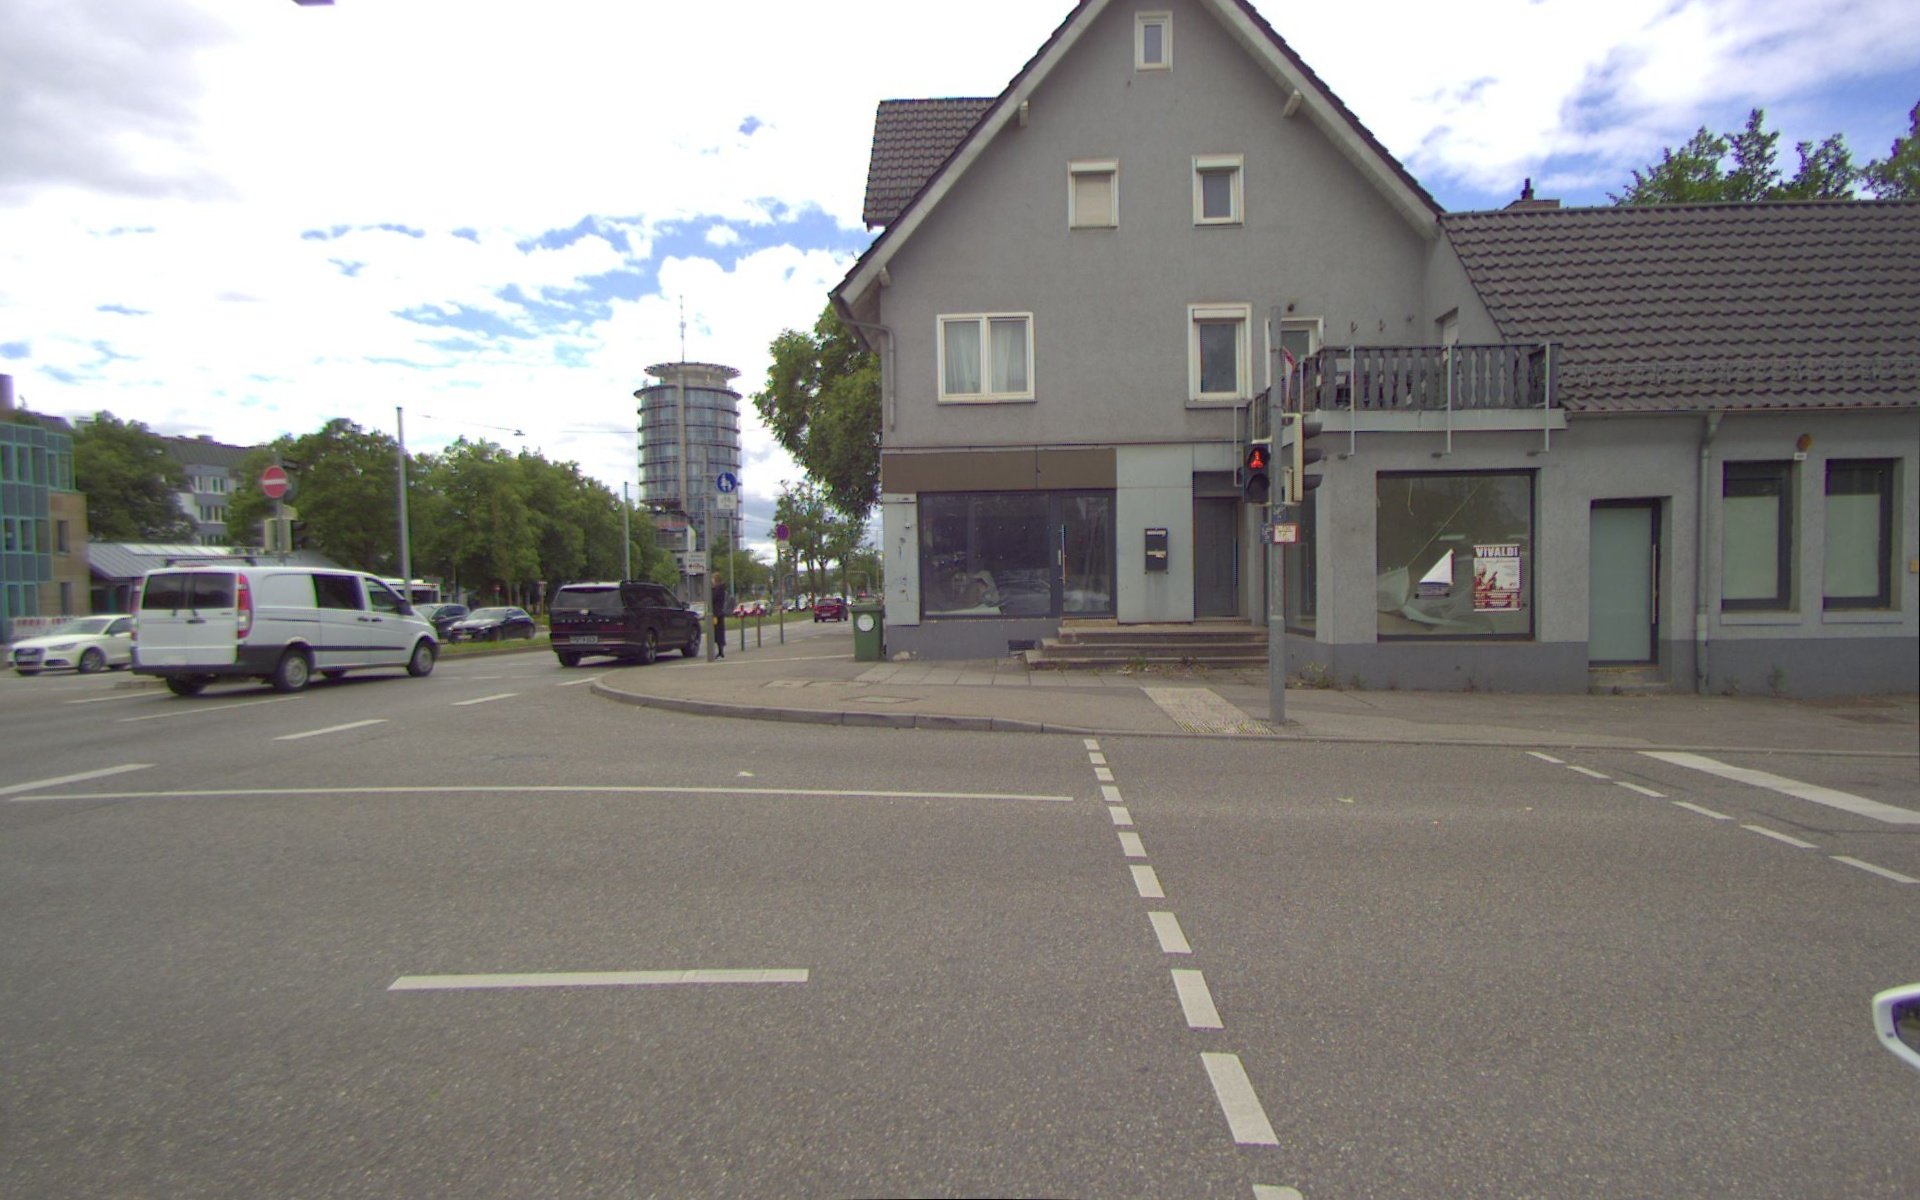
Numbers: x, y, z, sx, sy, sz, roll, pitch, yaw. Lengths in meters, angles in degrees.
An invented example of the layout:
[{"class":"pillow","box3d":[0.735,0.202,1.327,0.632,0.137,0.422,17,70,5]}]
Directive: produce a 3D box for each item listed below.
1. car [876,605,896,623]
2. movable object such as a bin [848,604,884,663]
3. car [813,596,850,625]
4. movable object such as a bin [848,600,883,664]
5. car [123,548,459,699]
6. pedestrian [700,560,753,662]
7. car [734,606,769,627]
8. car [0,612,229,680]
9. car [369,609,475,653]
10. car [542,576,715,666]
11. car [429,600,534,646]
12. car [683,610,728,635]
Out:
[{"class":"car","box3d":[-6.982,1.336,94.461,1.839,1.505,3.997,-2,-1,-5]},{"class":"movable object such as a bin","box3d":[-1.639,0.580,17.490,0.587,1.000,0.573,-1,0,-4]},{"class":"car","box3d":[-8.053,0.659,63.168,1.717,1.746,4.000,-1,0,1]},{"class":"movable object such as a bin","box3d":[-1.703,0.575,18.092,0.587,1.116,0.573,-1,0,-4]},{"class":"car","box3d":[-10.580,0.379,16.507,1.842,2.040,5.078,-2,-1,4]},{"class":"pedestrian","box3d":[-4.778,0.228,20.576,0.758,2.040,0.878,-1,0,8]},{"class":"car","box3d":[-17.003,1.328,81.911,1.960,1.595,4.000,-1,0,0]},{"class":"car","box3d":[-21.265,1.087,25.543,1.960,1.527,4.493,-1,0,1]},{"class":"car","box3d":[-21.280,1.190,39.922,1.960,1.595,4.001,-1,0,1]},{"class":"car","box3d":[-7.090,0.424,22.088,1.890,1.775,4.680,0,0,5]},{"class":"car","box3d":[-18.053,0.828,38.124,1.960,1.595,4.001,-1,0,1]},{"class":"car","box3d":[-17.054,1.487,67.496,1.960,1.595,4.000,-1,0,0]}]
